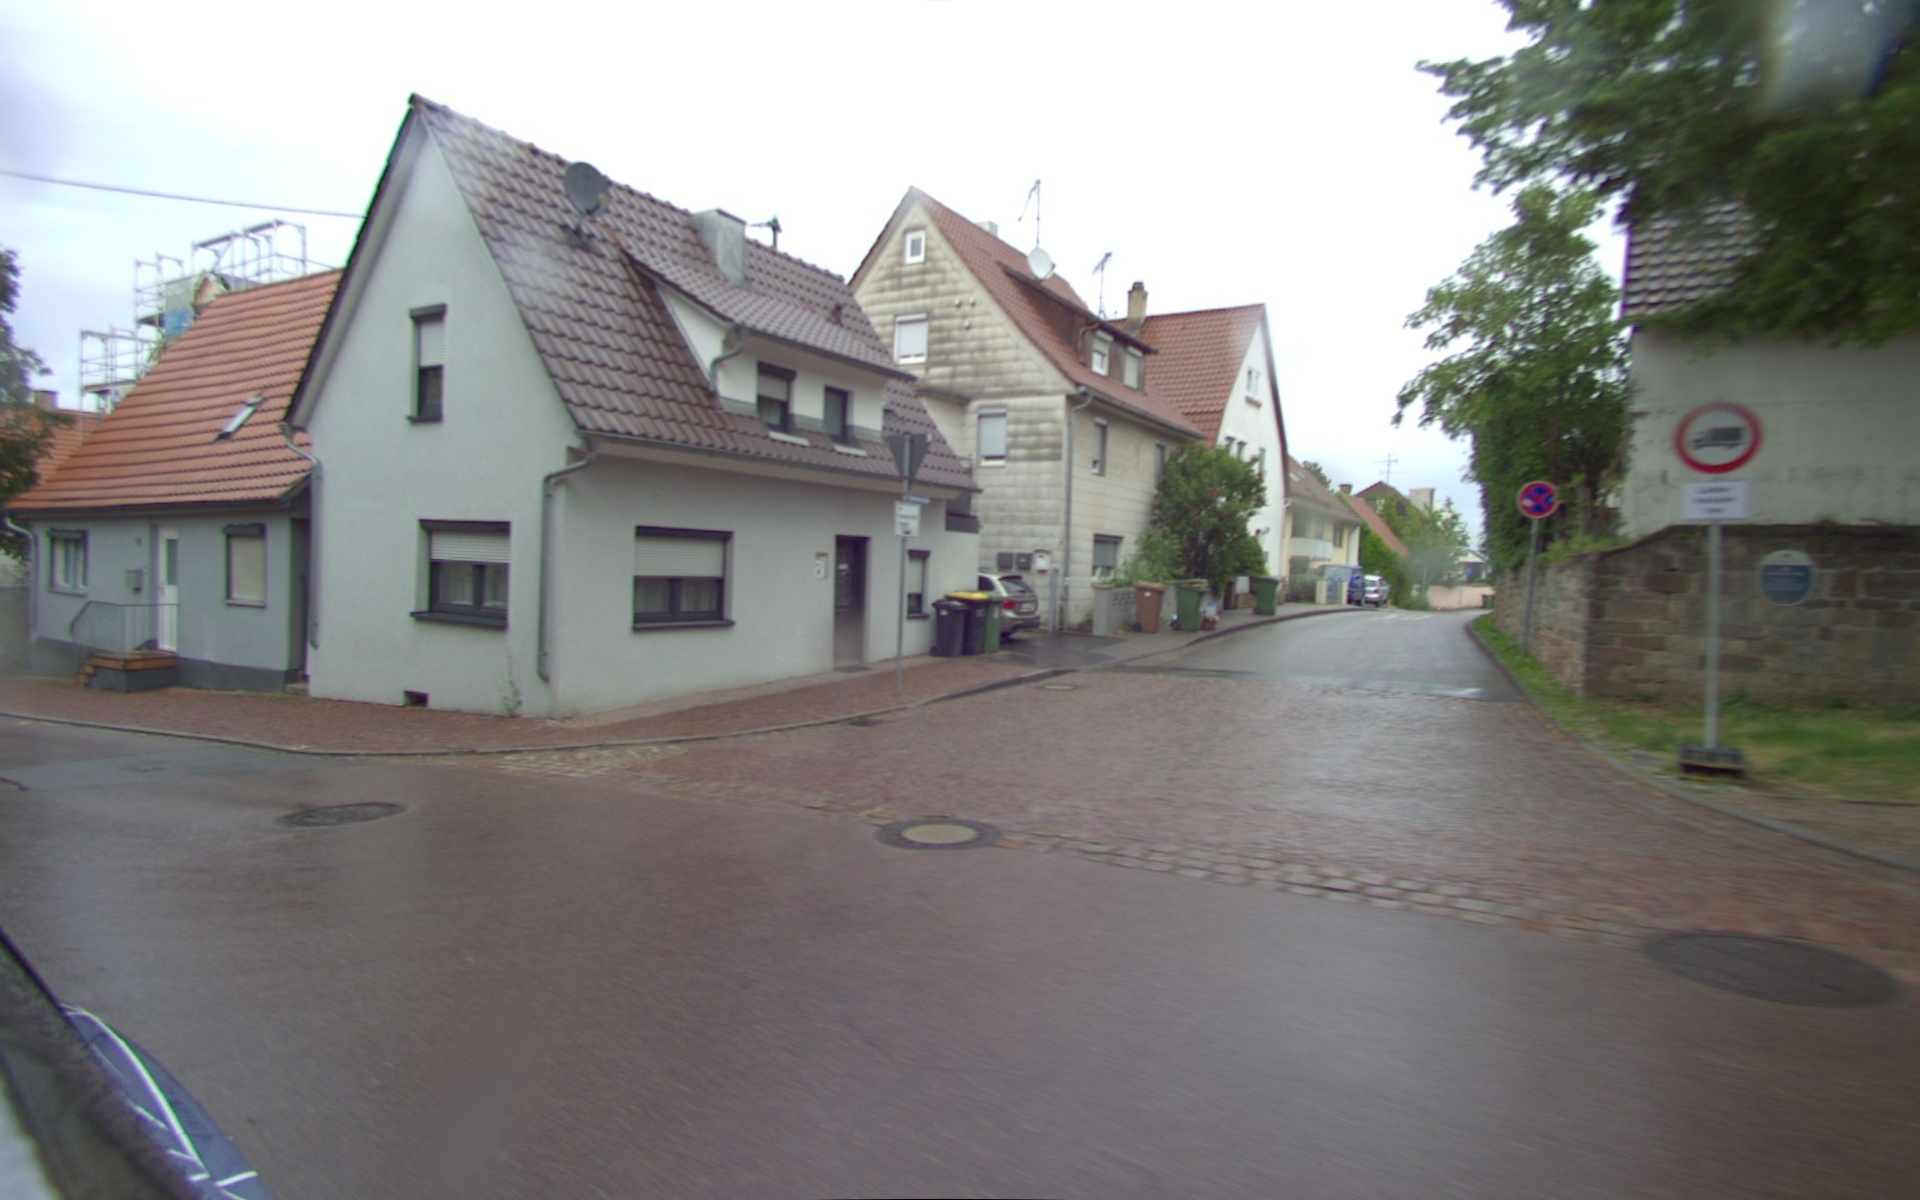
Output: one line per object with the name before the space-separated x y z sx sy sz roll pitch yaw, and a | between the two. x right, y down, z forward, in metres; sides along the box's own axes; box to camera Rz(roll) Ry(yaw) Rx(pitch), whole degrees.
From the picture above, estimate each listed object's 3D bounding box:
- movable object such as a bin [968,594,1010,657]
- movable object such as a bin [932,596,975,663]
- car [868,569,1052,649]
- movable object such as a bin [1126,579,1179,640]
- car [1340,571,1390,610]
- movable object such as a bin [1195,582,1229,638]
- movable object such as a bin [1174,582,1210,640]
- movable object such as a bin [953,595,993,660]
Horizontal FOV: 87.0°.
movable object such as a bin | 0.519 0.450 18.042 0.517 1.078 0.510 3 2 32
movable object such as a bin | -0.112 0.487 17.059 0.503 1.068 0.518 3 3 32
car | -0.019 0.133 20.567 3.444 1.462 1.551 1 3 32
movable object such as a bin | 4.205 0.193 22.100 0.875 1.249 0.746 5 3 31
car | 20.760 -0.513 51.771 1.991 1.908 3.962 0 1 28
movable object such as a bin | 5.796 0.227 23.254 0.600 1.247 0.679 2 1 26
movable object such as a bin | 5.211 0.231 22.697 0.627 1.259 0.629 2 1 26
movable object such as a bin | 0.225 0.466 17.531 0.496 1.077 0.509 3 4 32
